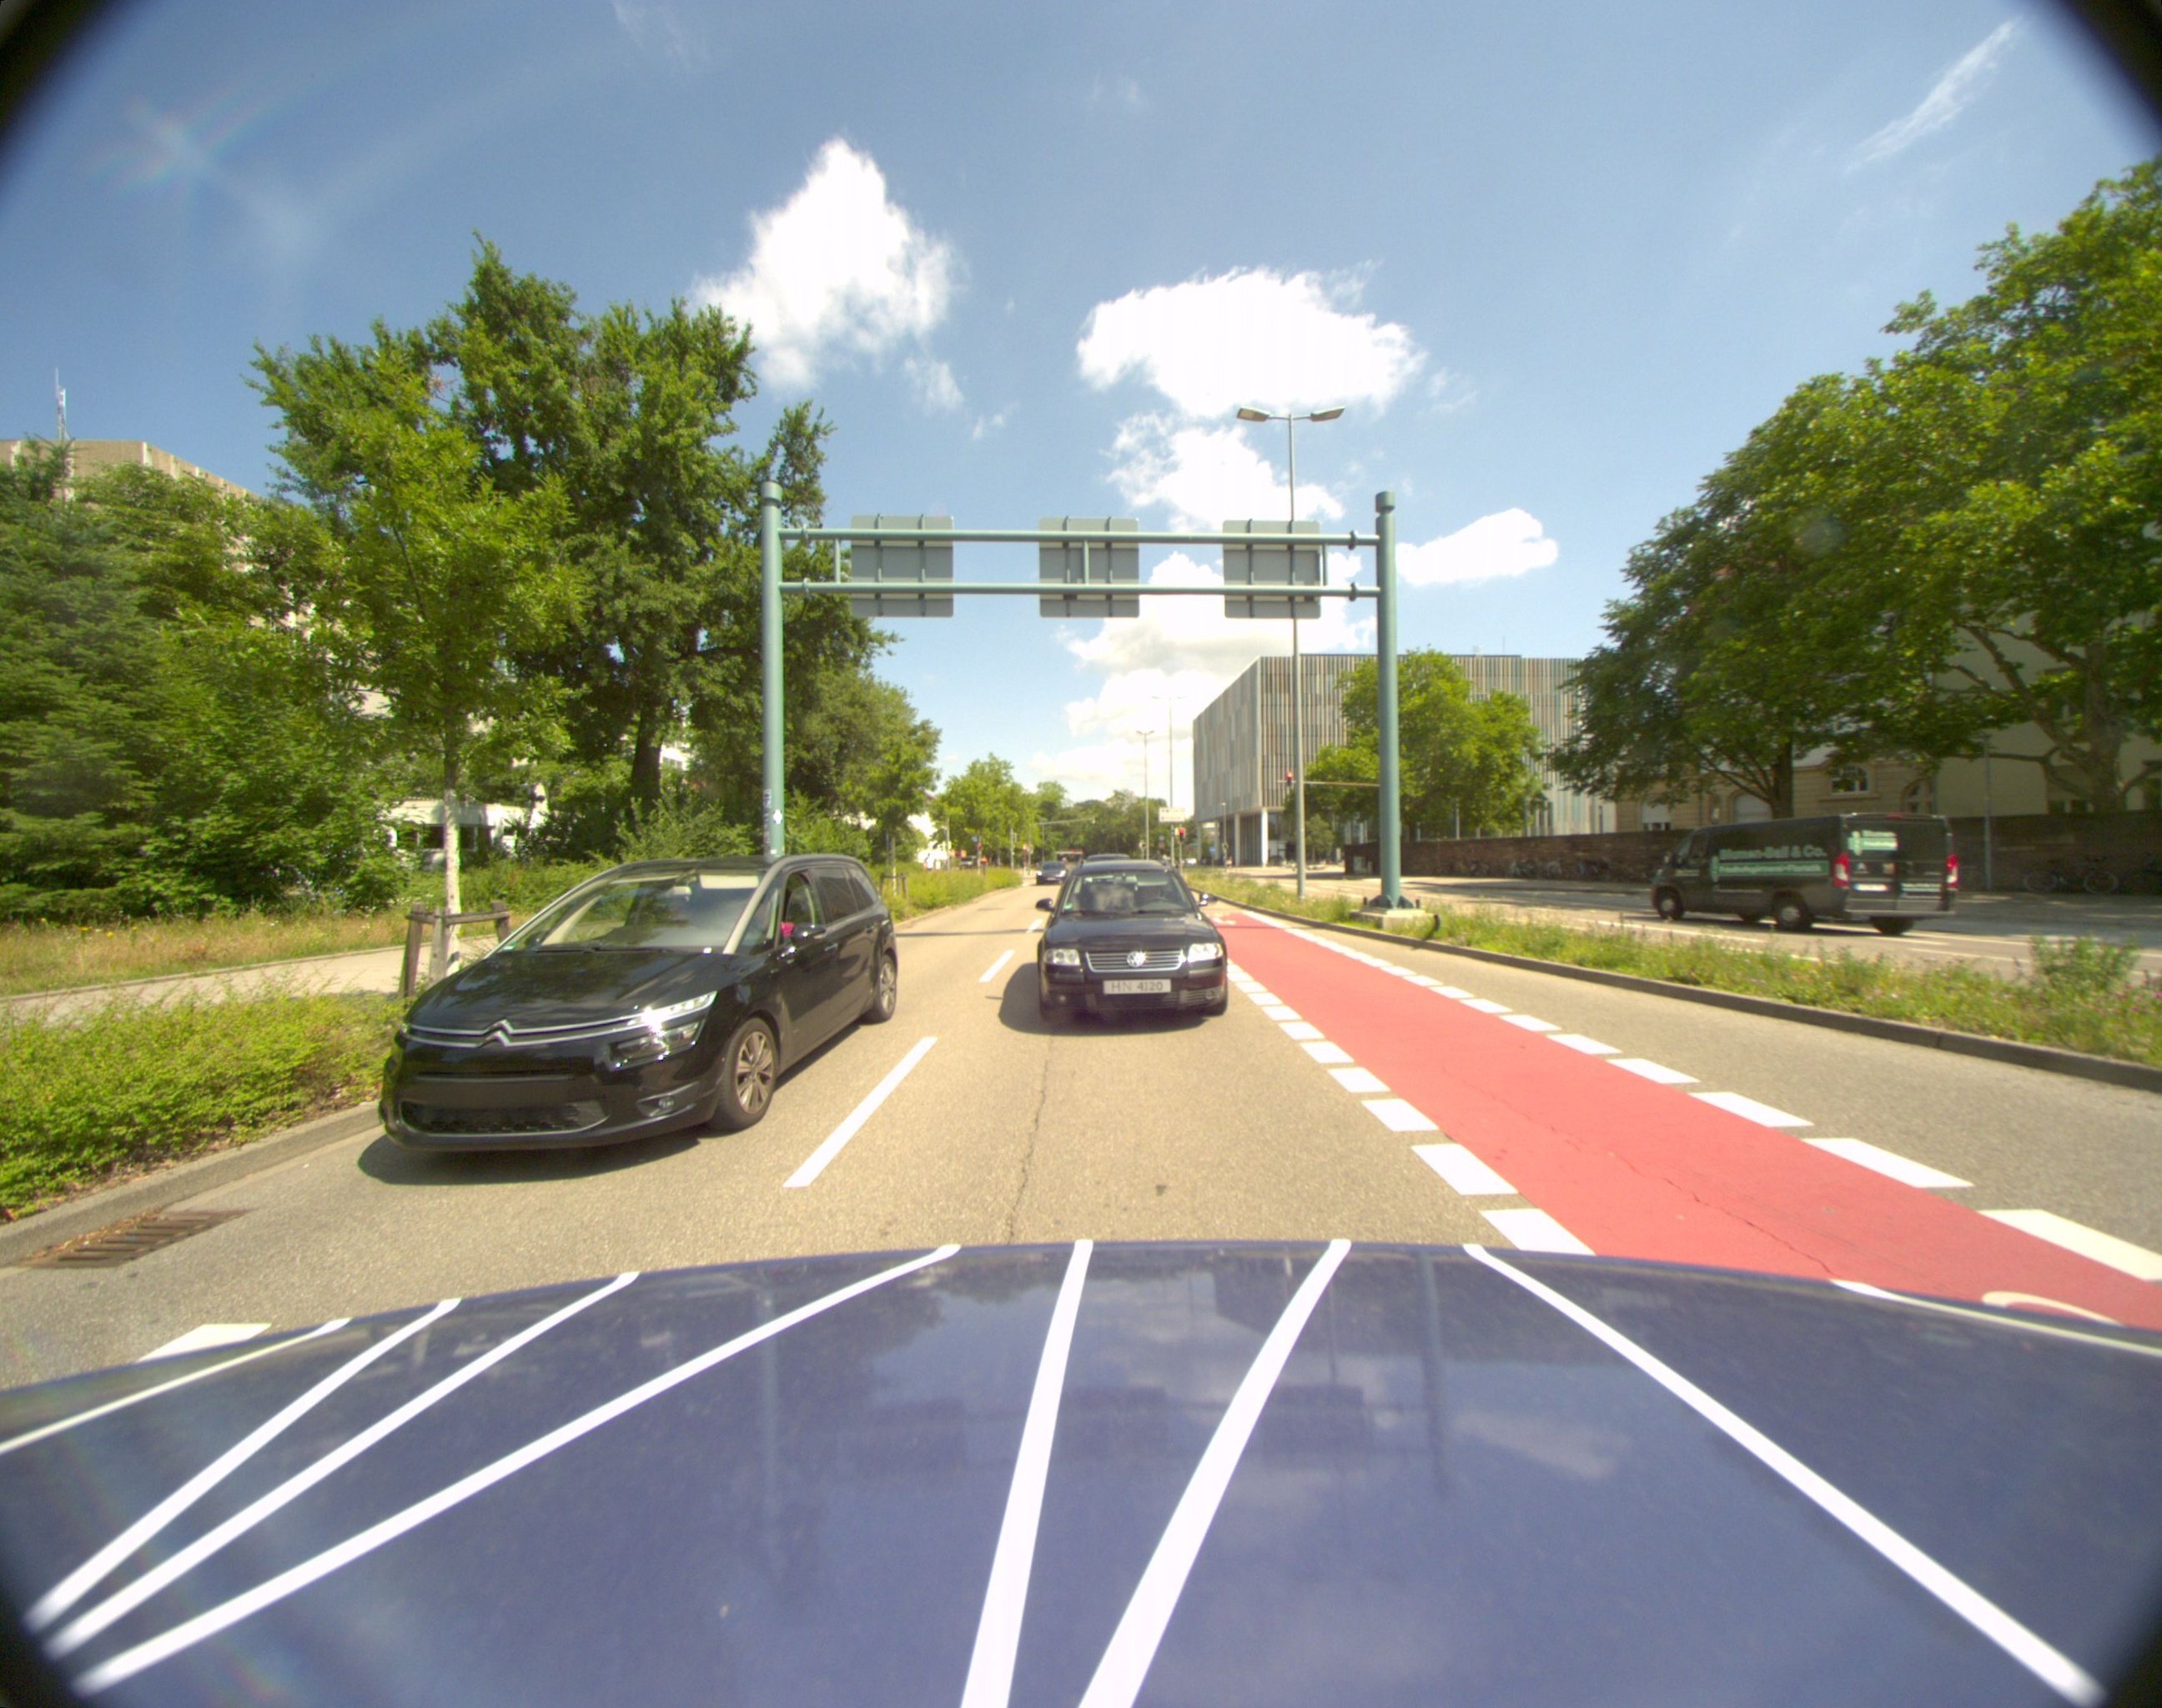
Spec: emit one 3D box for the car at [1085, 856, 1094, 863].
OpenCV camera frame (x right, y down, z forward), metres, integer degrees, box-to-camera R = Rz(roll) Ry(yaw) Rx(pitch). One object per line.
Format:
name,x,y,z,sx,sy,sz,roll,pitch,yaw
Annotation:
car,2.108,1.387,191.513,1.758,1.581,4.275,-1,0,-4

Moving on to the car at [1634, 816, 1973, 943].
car,14.312,0.459,15.640,2.153,2.162,5.018,1,0,0

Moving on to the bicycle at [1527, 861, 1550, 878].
bicycle,23.474,0.791,39.011,0.265,0.826,1.235,-1,0,-11

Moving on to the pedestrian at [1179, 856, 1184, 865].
pedestrian,16.896,1.046,127.499,0.696,1.445,0.689,-1,0,5

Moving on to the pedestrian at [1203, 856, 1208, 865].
pedestrian,19.298,0.997,117.684,0.696,1.445,0.689,-1,0,5

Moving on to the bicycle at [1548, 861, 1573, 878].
bicycle,23.657,0.752,37.480,0.265,0.826,1.235,-1,0,-11

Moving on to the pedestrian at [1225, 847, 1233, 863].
pedestrian,18.714,0.121,96.140,0.864,2.002,0.995,-1,0,-1

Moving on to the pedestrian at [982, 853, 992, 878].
pedestrian,-6.848,0.843,55.375,0.640,1.754,0.885,-1,0,-14

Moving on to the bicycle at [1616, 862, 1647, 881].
bicycle,24.158,0.774,33.366,0.265,0.826,1.235,-1,0,-11

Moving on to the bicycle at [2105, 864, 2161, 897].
bicycle,27.122,0.675,19.358,0.265,0.826,1.234,-1,0,-13

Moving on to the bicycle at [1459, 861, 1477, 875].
bicycle,22.800,0.829,44.765,0.265,0.826,1.235,-1,0,-11

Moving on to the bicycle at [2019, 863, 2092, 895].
bicycle,26.634,0.671,20.785,0.265,0.826,1.234,-1,0,-13

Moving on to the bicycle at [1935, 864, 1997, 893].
bicycle,26.237,0.723,22.540,0.265,0.826,1.235,-1,0,-11

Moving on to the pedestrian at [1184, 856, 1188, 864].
pedestrian,17.965,1.006,130.060,0.696,1.445,0.689,-1,0,5

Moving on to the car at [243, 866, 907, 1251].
car,-2.777,0.953,5.636,1.816,1.598,4.479,-3,0,1

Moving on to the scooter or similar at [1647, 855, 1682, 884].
scooter or similar,23.855,0.625,31.074,0.265,1.182,1.234,-1,0,-11

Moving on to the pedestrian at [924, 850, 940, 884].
pedestrian,-9.053,0.770,46.132,0.846,2.026,0.901,-1,0,-7

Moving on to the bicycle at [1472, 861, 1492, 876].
bicycle,22.921,0.804,43.441,0.265,0.826,1.234,-1,0,-11

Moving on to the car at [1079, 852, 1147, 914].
car,0.879,0.777,22.287,1.723,1.545,4.594,-3,0,1

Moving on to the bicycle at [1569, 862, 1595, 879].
bicycle,23.869,0.783,36.218,0.265,0.826,1.235,-1,0,-11

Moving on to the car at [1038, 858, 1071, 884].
car,-1.577,1.003,46.251,1.806,1.361,4.157,-1,1,1

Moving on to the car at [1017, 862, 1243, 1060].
car,0.420,0.871,8.305,1.723,1.472,4.594,-3,0,1

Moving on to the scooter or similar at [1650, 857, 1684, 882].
scooter or similar,24.568,0.634,31.862,0.266,1.014,1.140,-1,0,-22

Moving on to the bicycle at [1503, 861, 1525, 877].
bicycle,22.846,0.799,40.095,0.265,0.826,1.234,-1,0,-11

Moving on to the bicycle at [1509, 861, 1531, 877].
bicycle,23.353,0.794,40.419,0.265,0.826,1.234,-1,0,-11

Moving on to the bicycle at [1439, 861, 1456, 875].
bicycle,22.483,0.848,46.660,0.265,0.826,1.235,-1,0,-11

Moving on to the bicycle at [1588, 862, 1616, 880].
bicycle,23.973,0.787,34.956,0.265,0.826,1.235,-1,0,-11

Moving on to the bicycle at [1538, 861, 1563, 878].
bicycle,23.179,0.753,37.538,0.265,0.826,1.234,-1,0,-11

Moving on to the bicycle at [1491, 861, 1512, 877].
bicycle,23.147,0.821,41.814,0.265,0.826,1.234,-1,0,-11
